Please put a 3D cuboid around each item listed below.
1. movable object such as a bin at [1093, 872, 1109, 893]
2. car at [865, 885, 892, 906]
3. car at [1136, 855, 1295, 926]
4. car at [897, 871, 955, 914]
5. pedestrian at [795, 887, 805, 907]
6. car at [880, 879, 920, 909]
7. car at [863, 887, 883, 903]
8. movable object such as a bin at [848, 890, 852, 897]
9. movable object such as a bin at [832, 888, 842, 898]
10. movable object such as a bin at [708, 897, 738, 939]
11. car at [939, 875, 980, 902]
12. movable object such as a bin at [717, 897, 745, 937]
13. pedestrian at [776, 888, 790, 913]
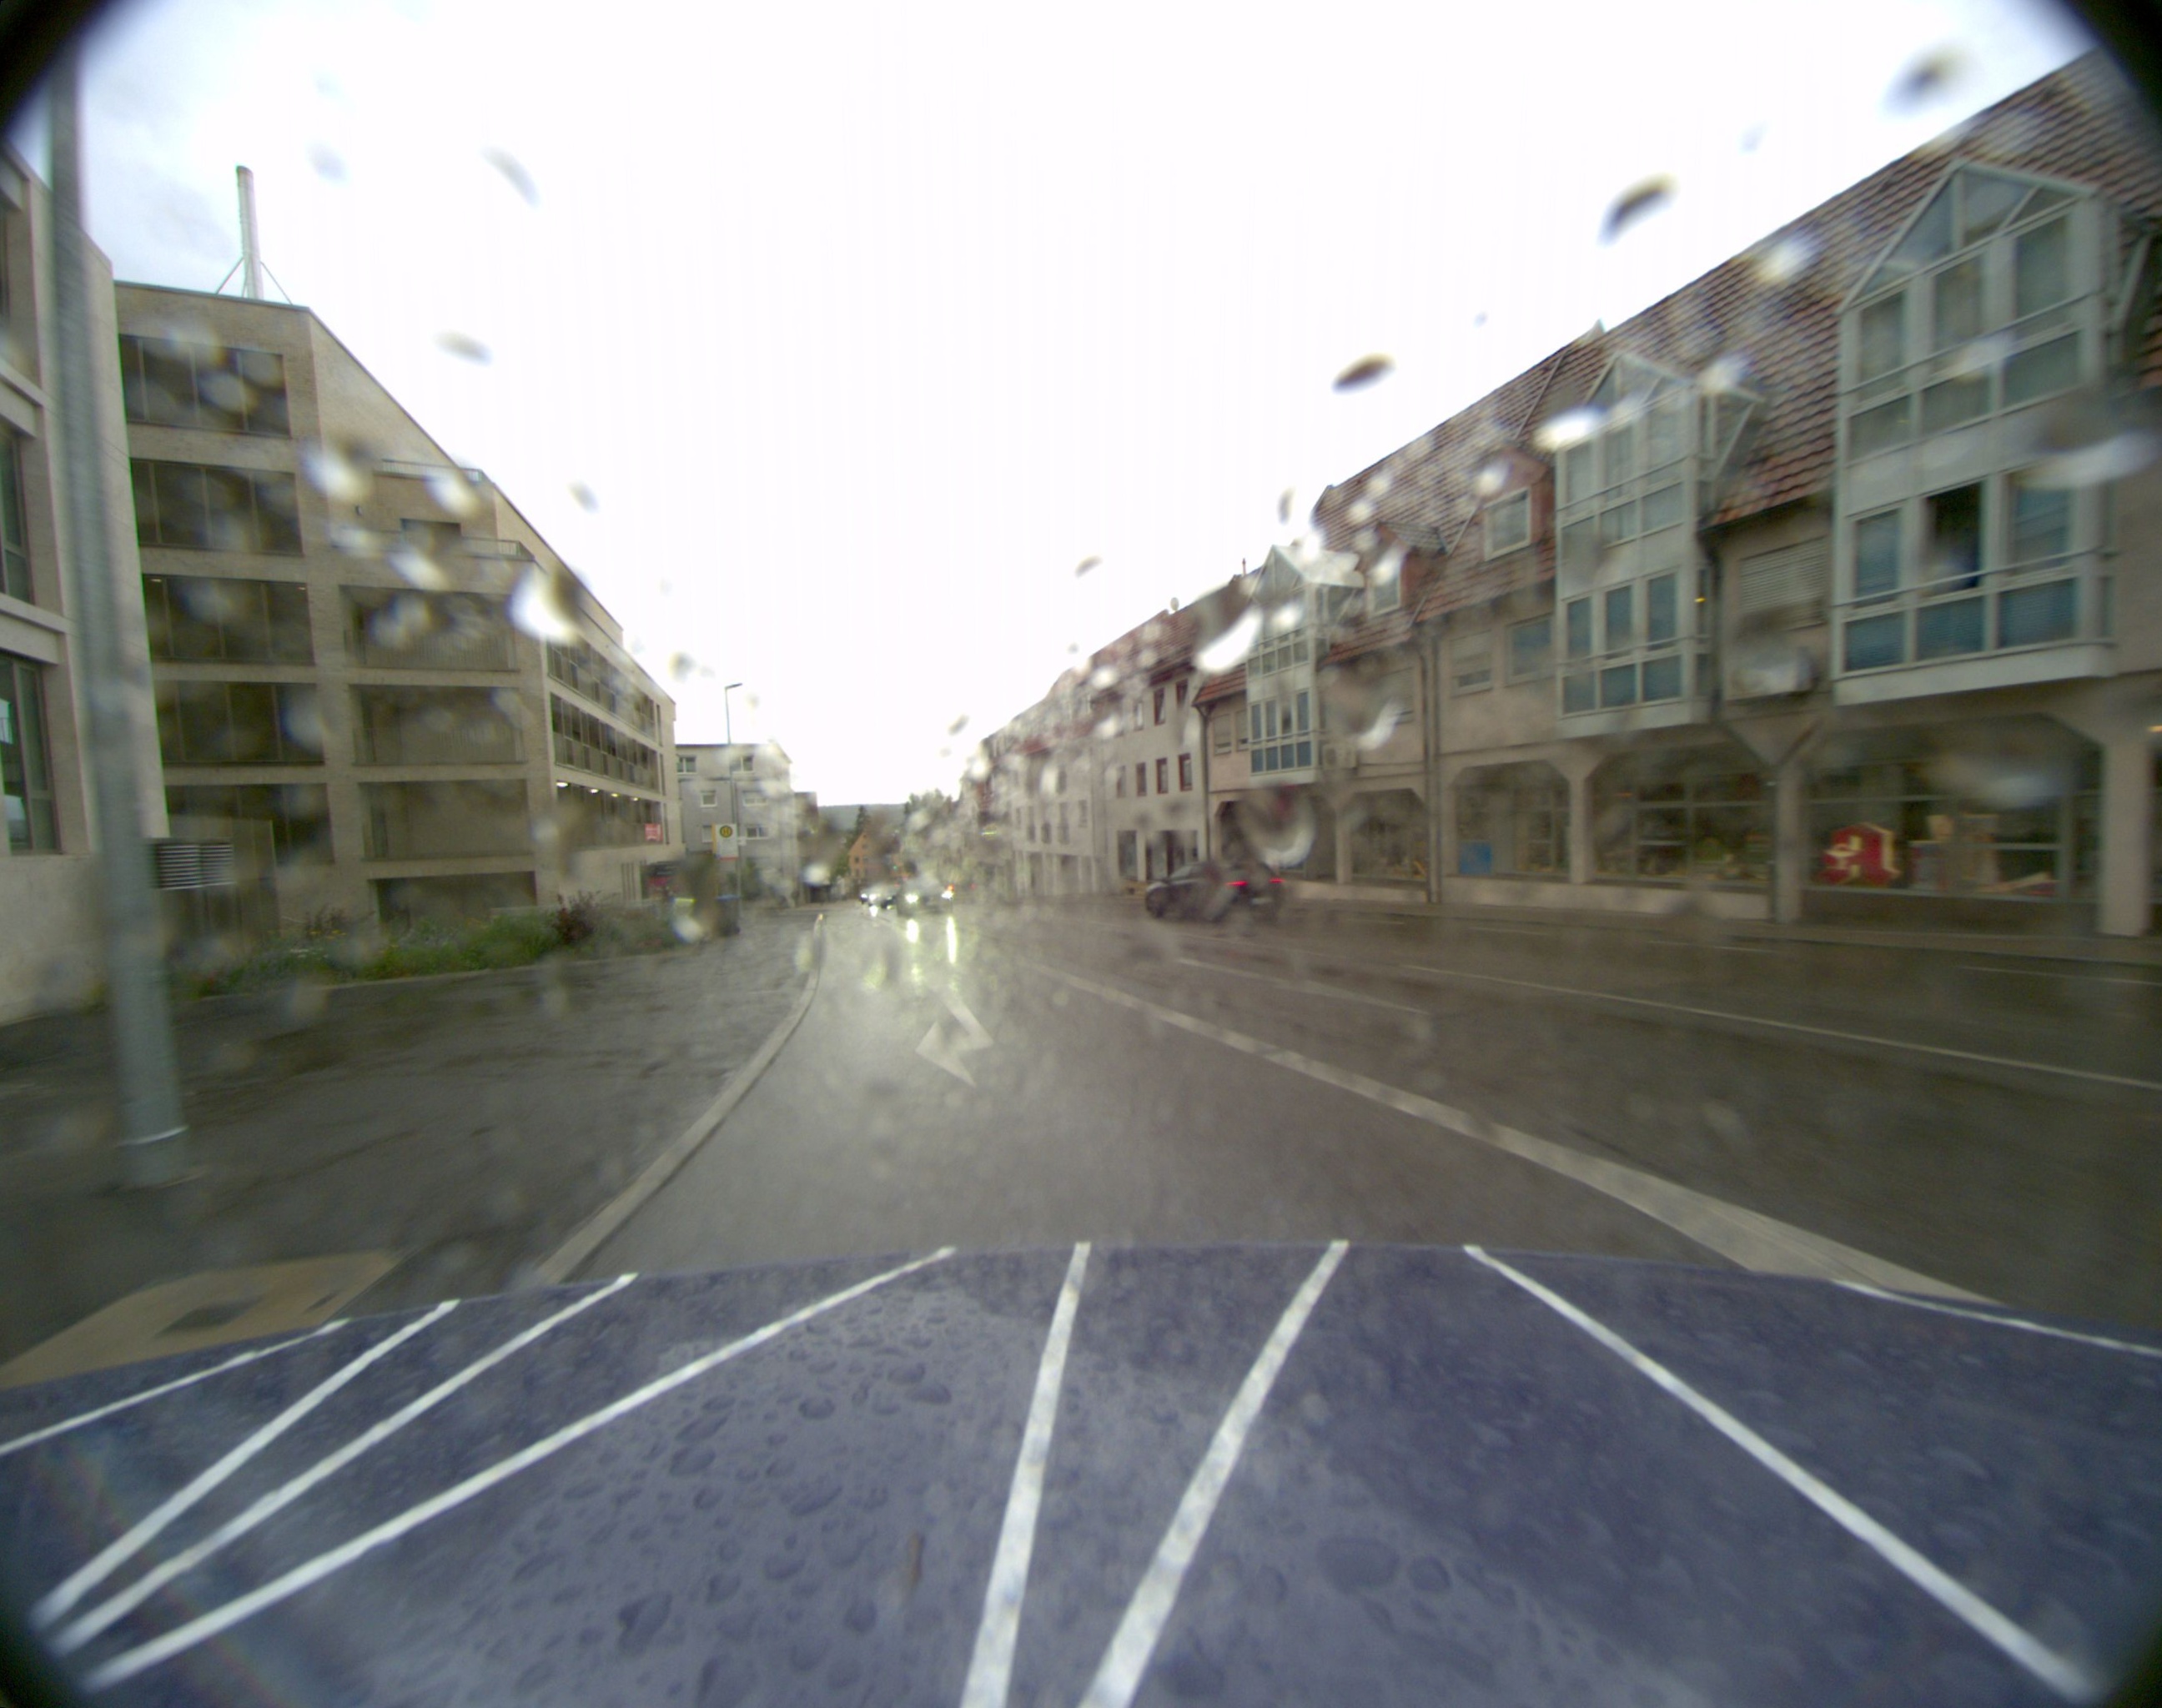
[{"bbox_3d":[0.994,1.399,37.590,0.510,1.000,0.584,-4,-1,-21],"label":"movable object such as a bin"},{"bbox_3d":[-17.137,3.524,64.284,1.970,1.597,4.380,-3,-3,-15],"label":"car"},{"bbox_3d":[3.104,0.840,18.454,1.895,1.458,3.993,-2,-1,-23],"label":"car"},{"bbox_3d":[-6.639,1.598,32.126,1.970,1.548,4.618,-3,-1,-16],"label":"car"},{"bbox_3d":[-23.296,3.560,62.981,0.693,1.546,0.709,-4,-1,-23],"label":"pedestrian"},{"bbox_3d":[-11.726,2.613,48.961,1.970,1.759,4.378,-3,-3,-20],"label":"car"},{"bbox_3d":[-22.802,4.486,83.469,1.970,1.597,4.380,-3,-3,-15],"label":"car"},{"bbox_3d":[-37.454,6.366,123.074,0.597,1.021,0.476,-1,-2,-15],"label":"movable object such as a bin"},{"bbox_3d":[-33.593,5.424,104.765,1.239,1.327,1.171,-2,-2,-15],"label":"movable object such as a bin"},{"bbox_3d":[-9.580,1.714,20.344,0.598,1.056,0.578,-3,-1,-17],"label":"movable object such as a bin"},{"bbox_3d":[-7.988,2.236,49.812,1.789,1.620,4.210,-3,-1,-20],"label":"car"},{"bbox_3d":[-9.689,1.730,21.032,0.598,1.056,0.578,-3,-1,-17],"label":"movable object such as a bin"},{"bbox_3d":[-18.834,2.943,48.030,0.738,1.532,1.037,0,-2,-14],"label":"pedestrian"}]
